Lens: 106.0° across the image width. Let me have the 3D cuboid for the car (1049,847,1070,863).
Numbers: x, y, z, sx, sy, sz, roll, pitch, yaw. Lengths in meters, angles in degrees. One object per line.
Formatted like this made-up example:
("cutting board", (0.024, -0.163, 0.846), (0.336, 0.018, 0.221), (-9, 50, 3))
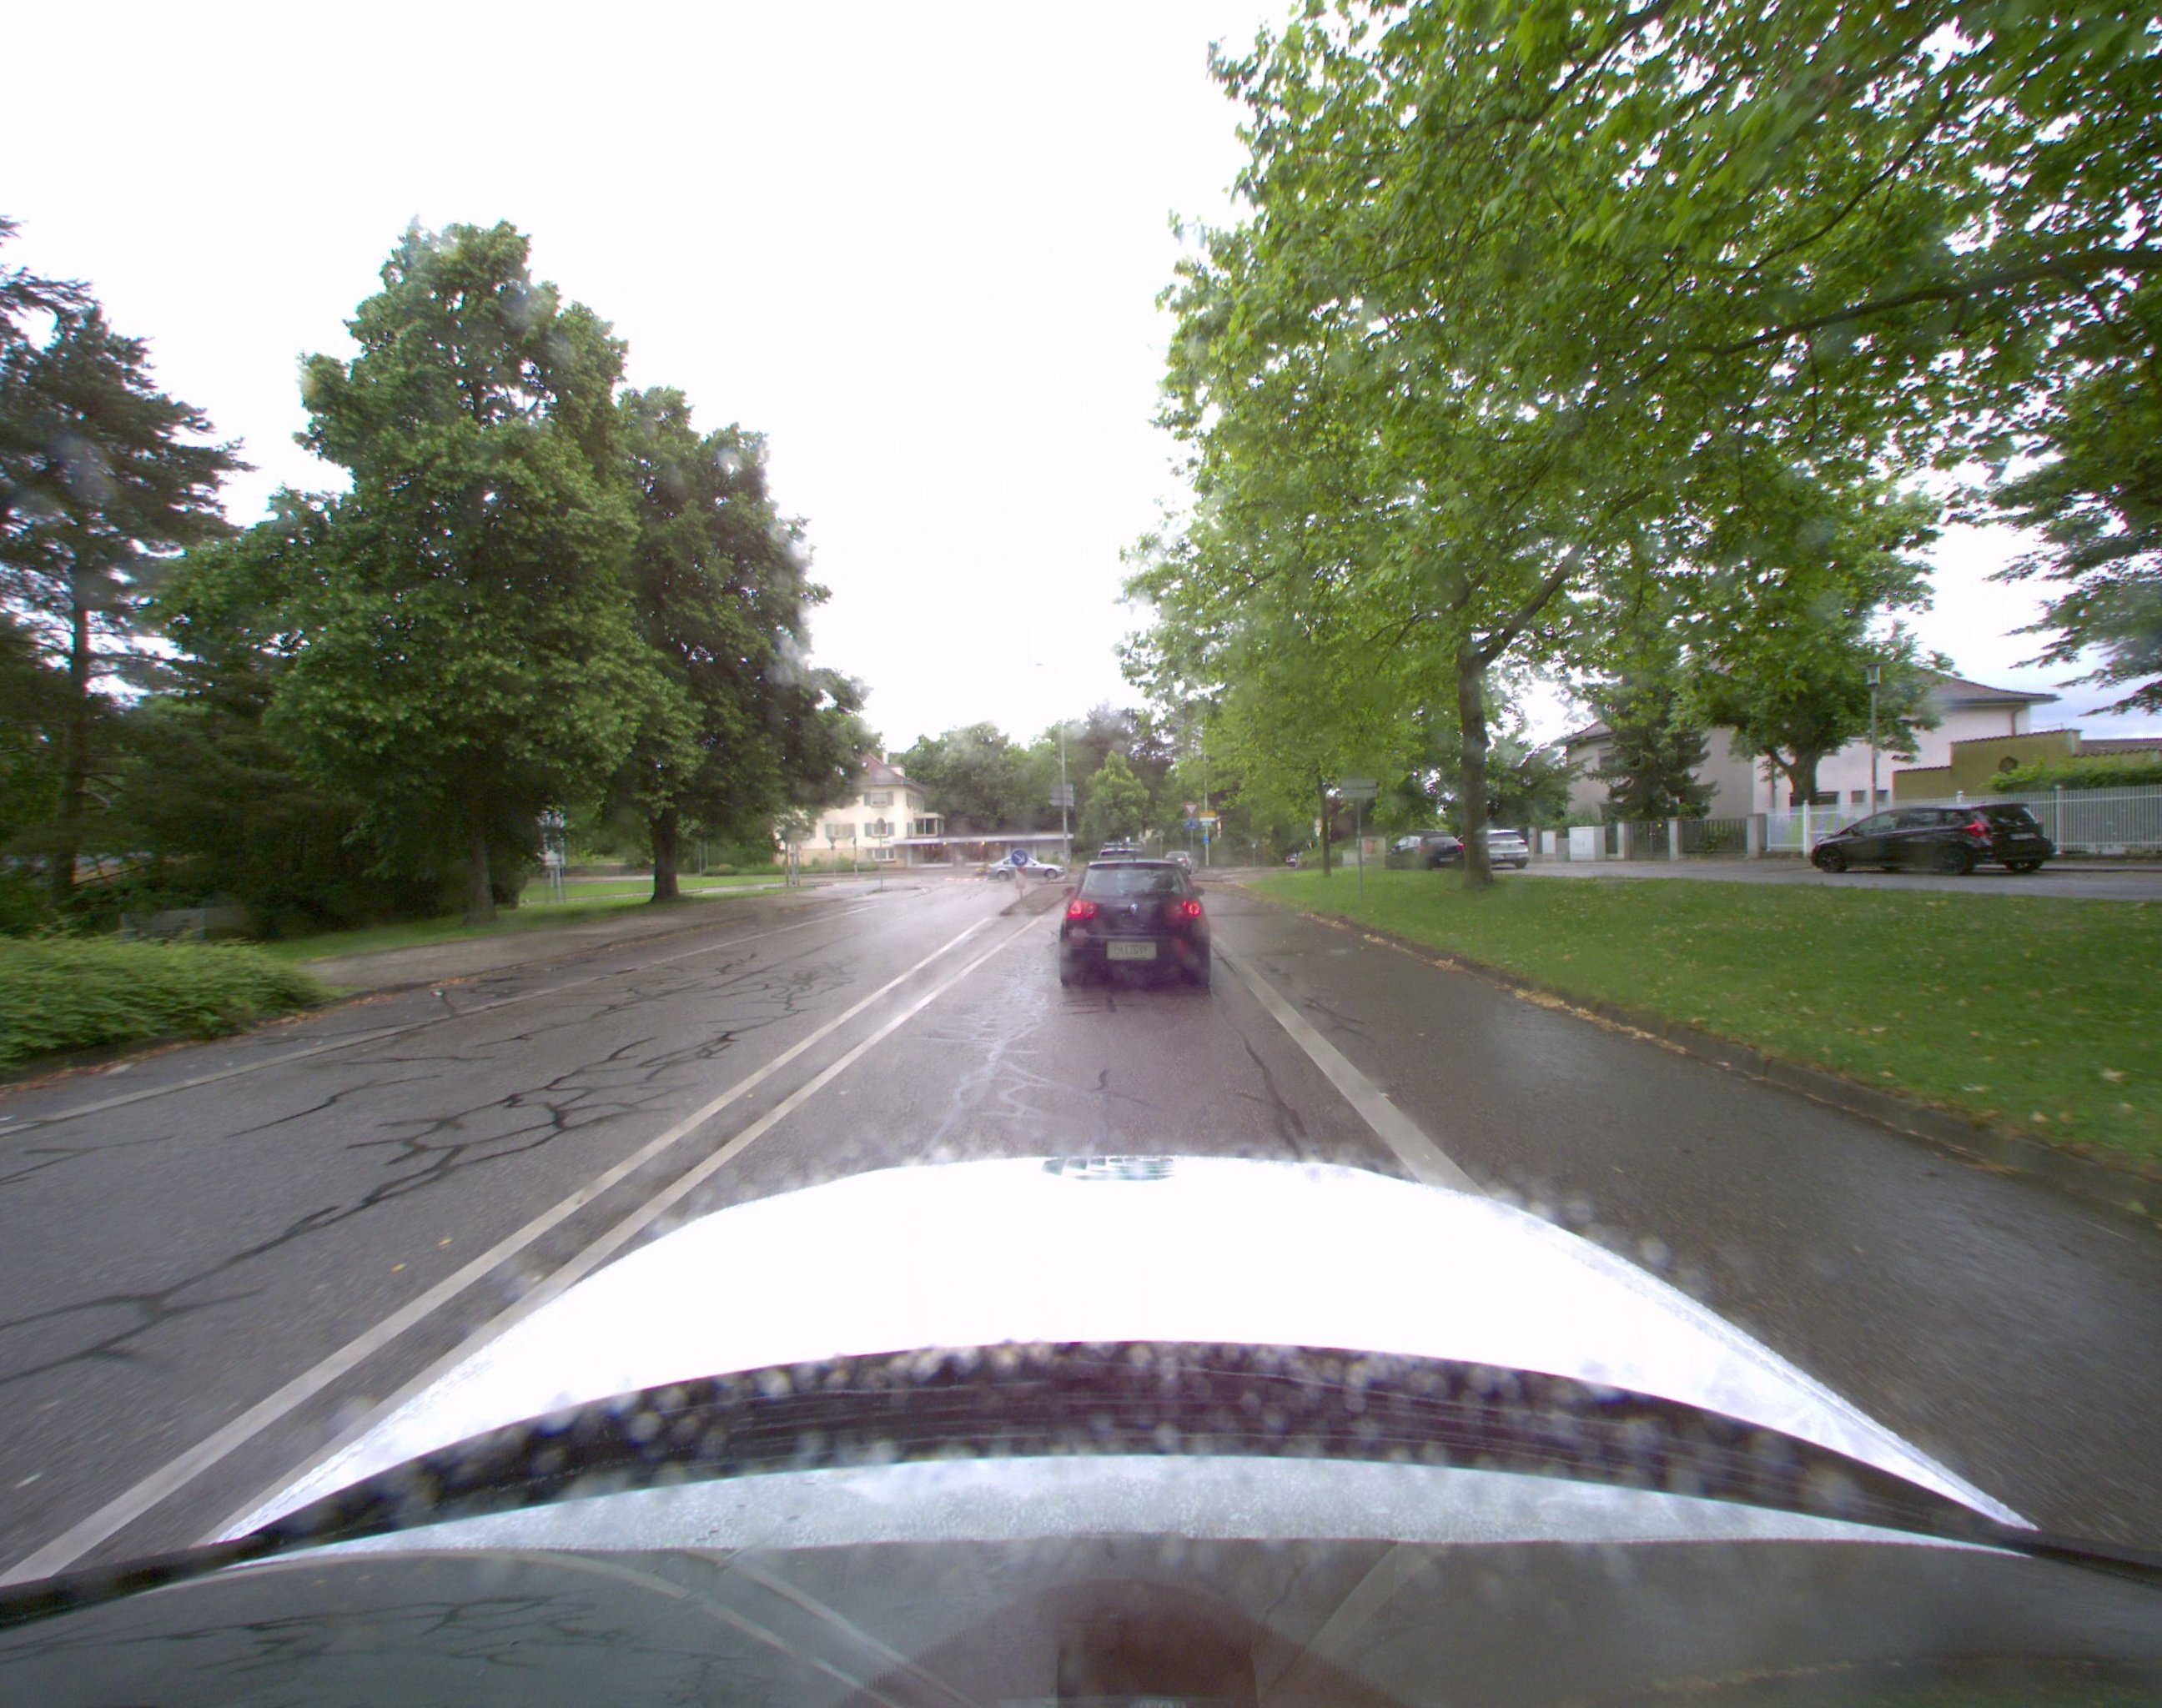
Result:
("car", (-2.117, 0.093, 80.056), (1.809, 1.486, 3.824), (-3, 0, -5))

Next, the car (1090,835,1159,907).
("car", (1.182, 0.457, 23.592), (1.759, 1.801, 4.246), (-3, 0, 1))

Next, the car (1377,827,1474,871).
("car", (13.094, -0.169, 31.308), (1.758, 1.471, 4.598), (-4, 0, 1))

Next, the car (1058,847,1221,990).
("car", (0.697, 0.684, 10.793), (1.758, 1.538, 4.002), (0, 0, 2))

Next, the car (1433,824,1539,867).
("car", (15.546, -0.298, 31.532), (1.839, 1.471, 4.425), (-3, 0, 0))

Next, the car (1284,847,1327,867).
("car", (18.082, 0.262, 65.514), (1.974, 1.530, 4.025), (-1, -1, 36))

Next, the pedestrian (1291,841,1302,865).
("pedestrian", (15.135, -0.078, 57.187), (0.528, 1.713, 0.633), (0, -1, -12))

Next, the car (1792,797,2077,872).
("car", (18.825, -0.379, 18.314), (1.756, 1.471, 4.353), (-1, 0, -2))

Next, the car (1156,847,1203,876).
("car", (6.255, 0.469, 51.361), (1.976, 1.741, 4.165), (0, 0, 21))

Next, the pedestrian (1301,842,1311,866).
("pedestrian", (16.002, 0.020, 57.869), (0.629, 1.713, 0.532), (0, -1, 18))

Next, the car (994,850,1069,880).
("car", (-2.822, 0.655, 46.988), (4.000, 1.684, 2.003), (0, 0, 5))
